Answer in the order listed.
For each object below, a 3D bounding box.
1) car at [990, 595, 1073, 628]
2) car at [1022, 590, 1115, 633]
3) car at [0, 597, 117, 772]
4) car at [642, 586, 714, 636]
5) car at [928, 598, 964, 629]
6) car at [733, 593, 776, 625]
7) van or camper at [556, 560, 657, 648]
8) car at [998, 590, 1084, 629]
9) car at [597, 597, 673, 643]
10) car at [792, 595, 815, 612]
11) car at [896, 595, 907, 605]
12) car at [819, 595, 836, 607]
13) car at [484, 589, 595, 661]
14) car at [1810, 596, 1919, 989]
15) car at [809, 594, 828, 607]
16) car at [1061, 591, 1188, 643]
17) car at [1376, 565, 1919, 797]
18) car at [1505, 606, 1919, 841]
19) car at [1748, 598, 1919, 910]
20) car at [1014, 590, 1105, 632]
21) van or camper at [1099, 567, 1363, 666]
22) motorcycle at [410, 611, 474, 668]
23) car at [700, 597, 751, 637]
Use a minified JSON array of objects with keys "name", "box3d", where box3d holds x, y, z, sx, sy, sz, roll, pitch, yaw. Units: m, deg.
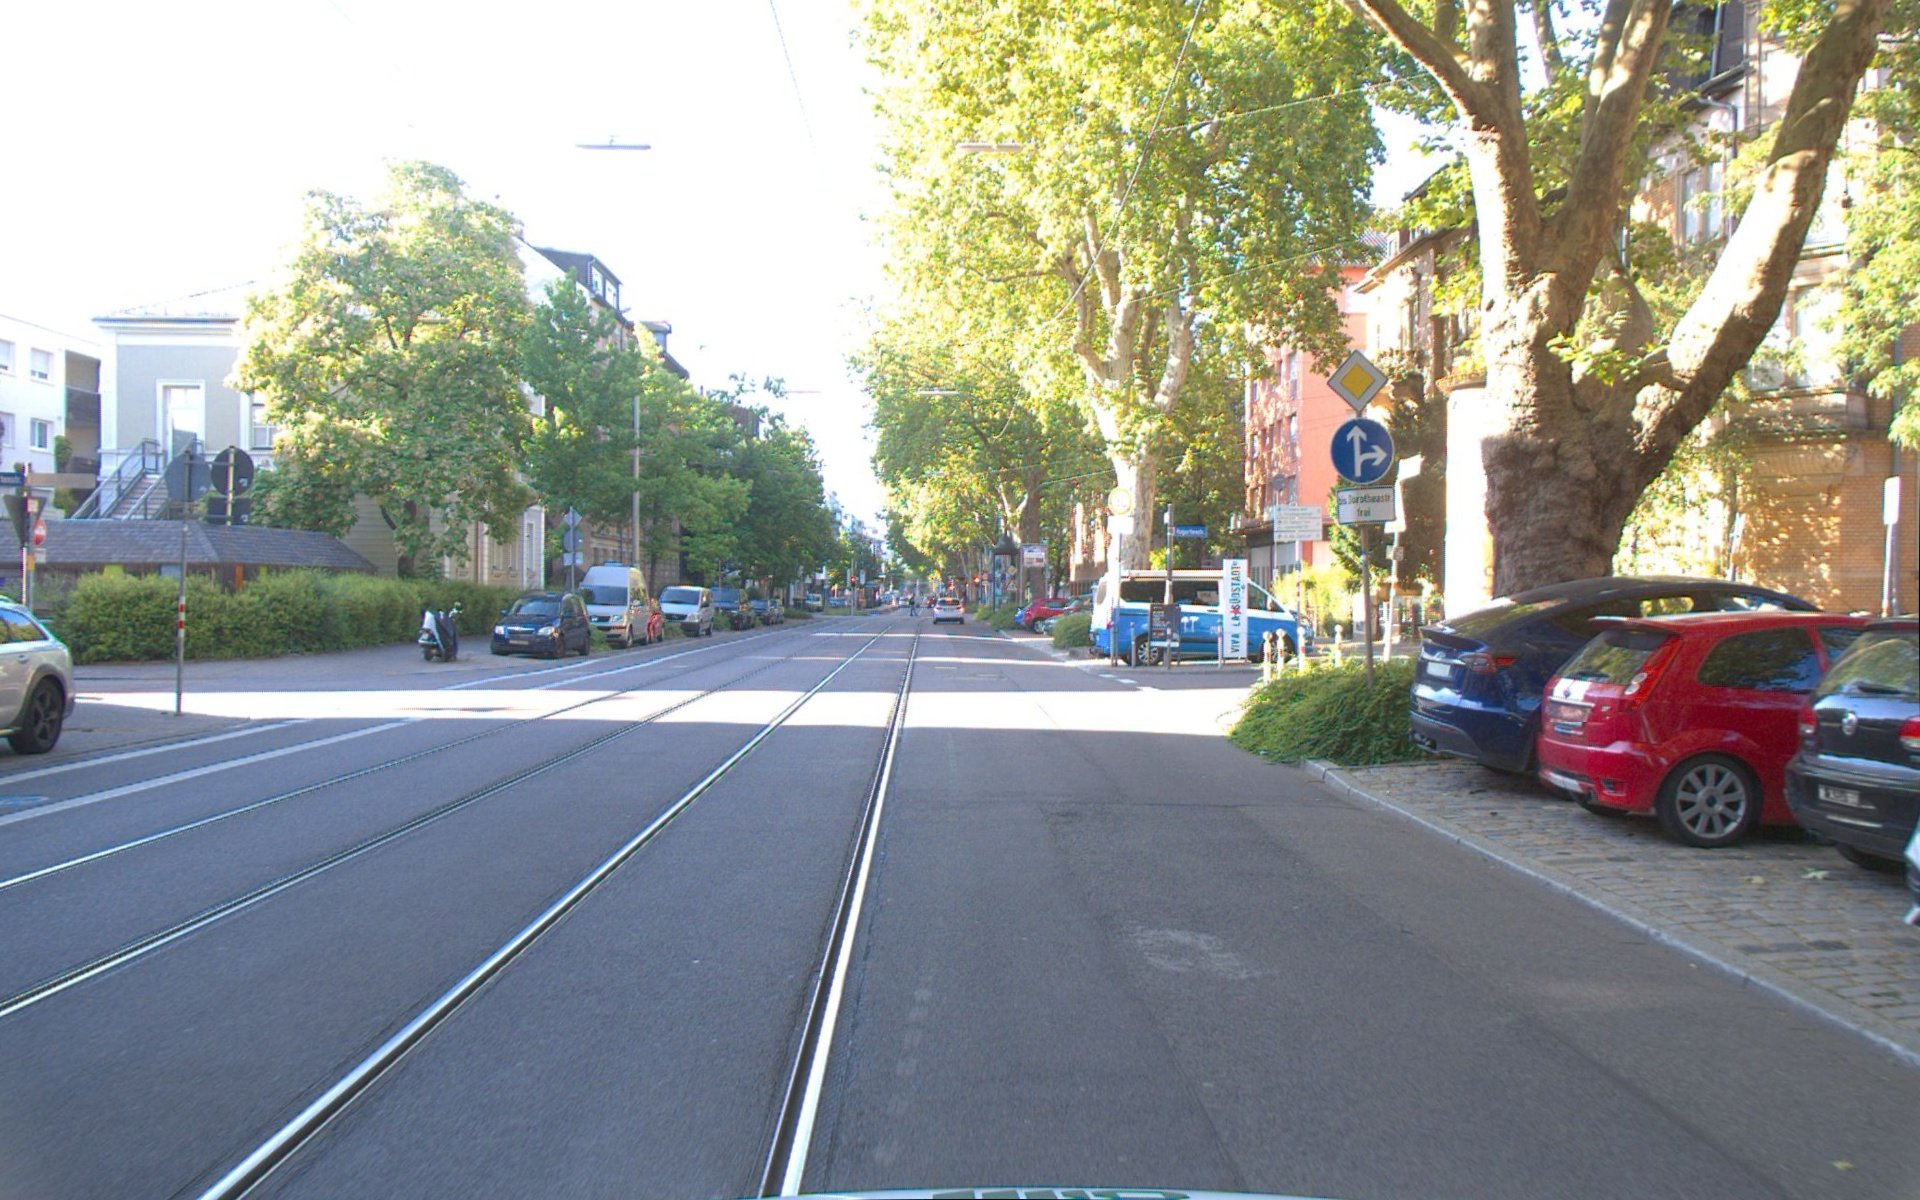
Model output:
[{"name":"car","box3d":[3.410,0.550,79.547,3.906,1.547,2.000,0,0,-1]},{"name":"car","box3d":[4.679,0.480,71.724,3.906,1.816,2.000,0,0,-1]},{"name":"car","box3d":[-9.460,0.750,14.416,1.800,1.494,5.066,3,0,-3]},{"name":"car","box3d":[-11.118,0.410,65.451,2.129,1.893,4.658,0,0,-1]},{"name":"car","box3d":[-0.803,0.727,91.501,1.879,1.612,3.790,-1,0,-2]},{"name":"car","box3d":[-11.874,0.505,95.774,1.953,1.775,4.658,0,0,-1]},{"name":"van or camper","box3d":[-10.773,0.107,50.782,2.037,2.577,5.316,0,0,-1]},{"name":"car","box3d":[3.764,0.434,77.249,3.906,1.816,2.000,0,0,-1]},{"name":"car","box3d":[-10.990,0.637,56.141,1.838,1.486,4.205,0,0,-1]},{"name":"car","box3d":[-13.619,0.298,143.954,1.880,1.443,3.718,0,0,-3]},{"name":"car","box3d":[-8.885,-0.045,250.202,1.603,1.443,3.588,0,0,-3]},{"name":"car","box3d":[-15.858,0.130,197.895,1.880,1.443,3.588,0,0,-3]},{"name":"car","box3d":[-10.477,0.580,41.496,1.751,1.614,4.342,3,0,-2]},{"name":"car","box3d":[5.902,0.724,6.103,4.591,1.472,1.891,0,0,-1]},{"name":"car","box3d":[-15.094,0.047,176.315,1.880,1.443,3.588,0,0,-4]},{"name":"car","box3d":[5.303,0.545,53.660,3.906,1.637,2.000,0,0,-1]},{"name":"car","box3d":[5.502,0.589,13.186,3.845,1.699,1.960,0,0,-3]},{"name":"car","box3d":[5.711,0.751,10.967,3.575,1.402,1.889,0,0,-1]},{"name":"car","box3d":[6.394,0.721,8.569,3.804,1.460,1.753,0,0,-1]},{"name":"car","box3d":[4.416,0.479,74.001,3.906,1.816,2.000,0,0,-1]},{"name":"van or camper","box3d":[5.993,0.324,37.023,5.448,2.048,2.242,0,3,-6]},{"name":"motorcycle","box3d":[-11.697,0.877,37.412,0.748,1.126,2.329,0,2,-1]},{"name":"car","box3d":[-11.275,0.793,79.862,1.953,1.893,4.177,0,0,-1]}]
